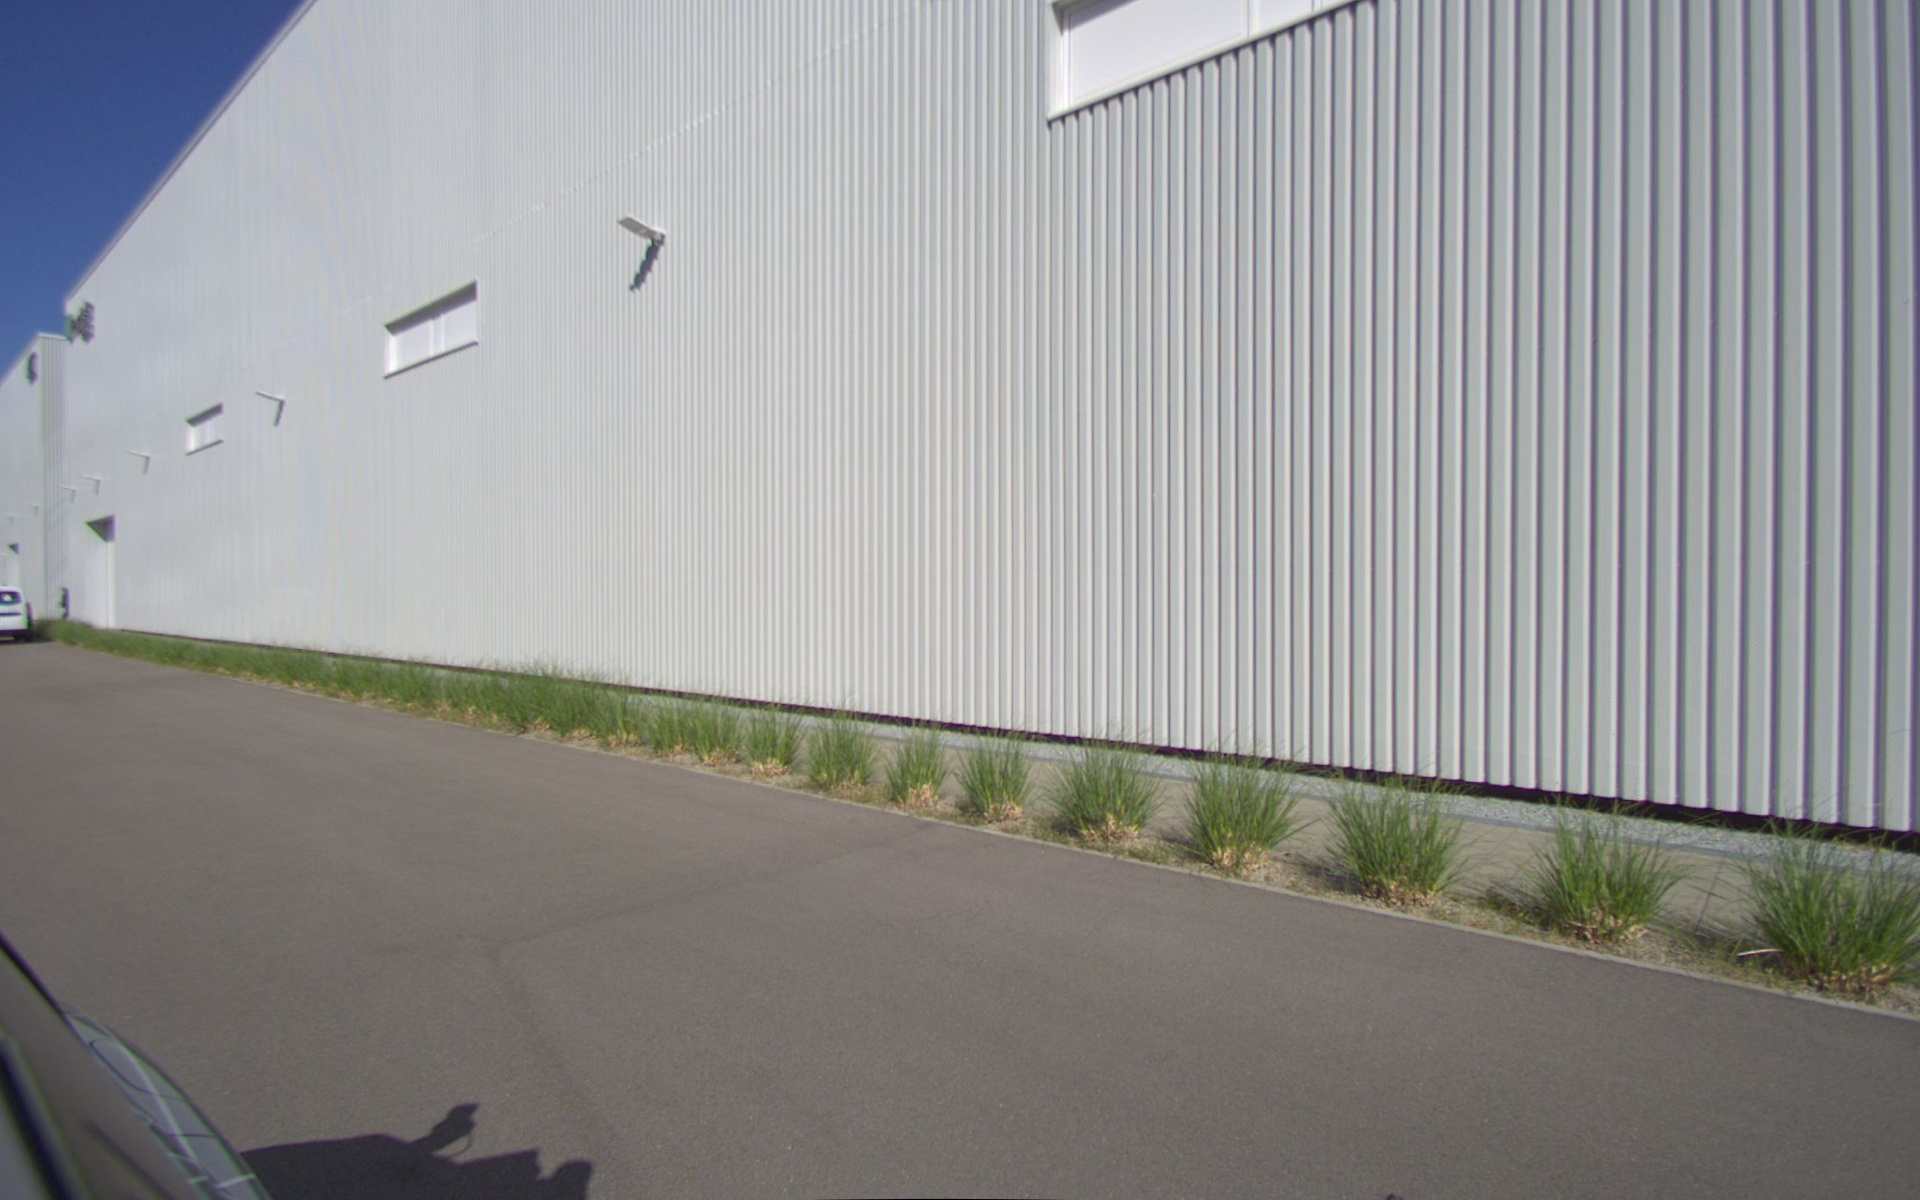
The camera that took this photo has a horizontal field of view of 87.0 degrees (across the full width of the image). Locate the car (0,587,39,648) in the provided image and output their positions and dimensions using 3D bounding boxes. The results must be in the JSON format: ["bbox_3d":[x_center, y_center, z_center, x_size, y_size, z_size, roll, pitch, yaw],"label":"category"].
[{"bbox_3d":[-30.657,0.537,31.894,4.596,1.803,1.908,0,1,42],"label":"car"}]
